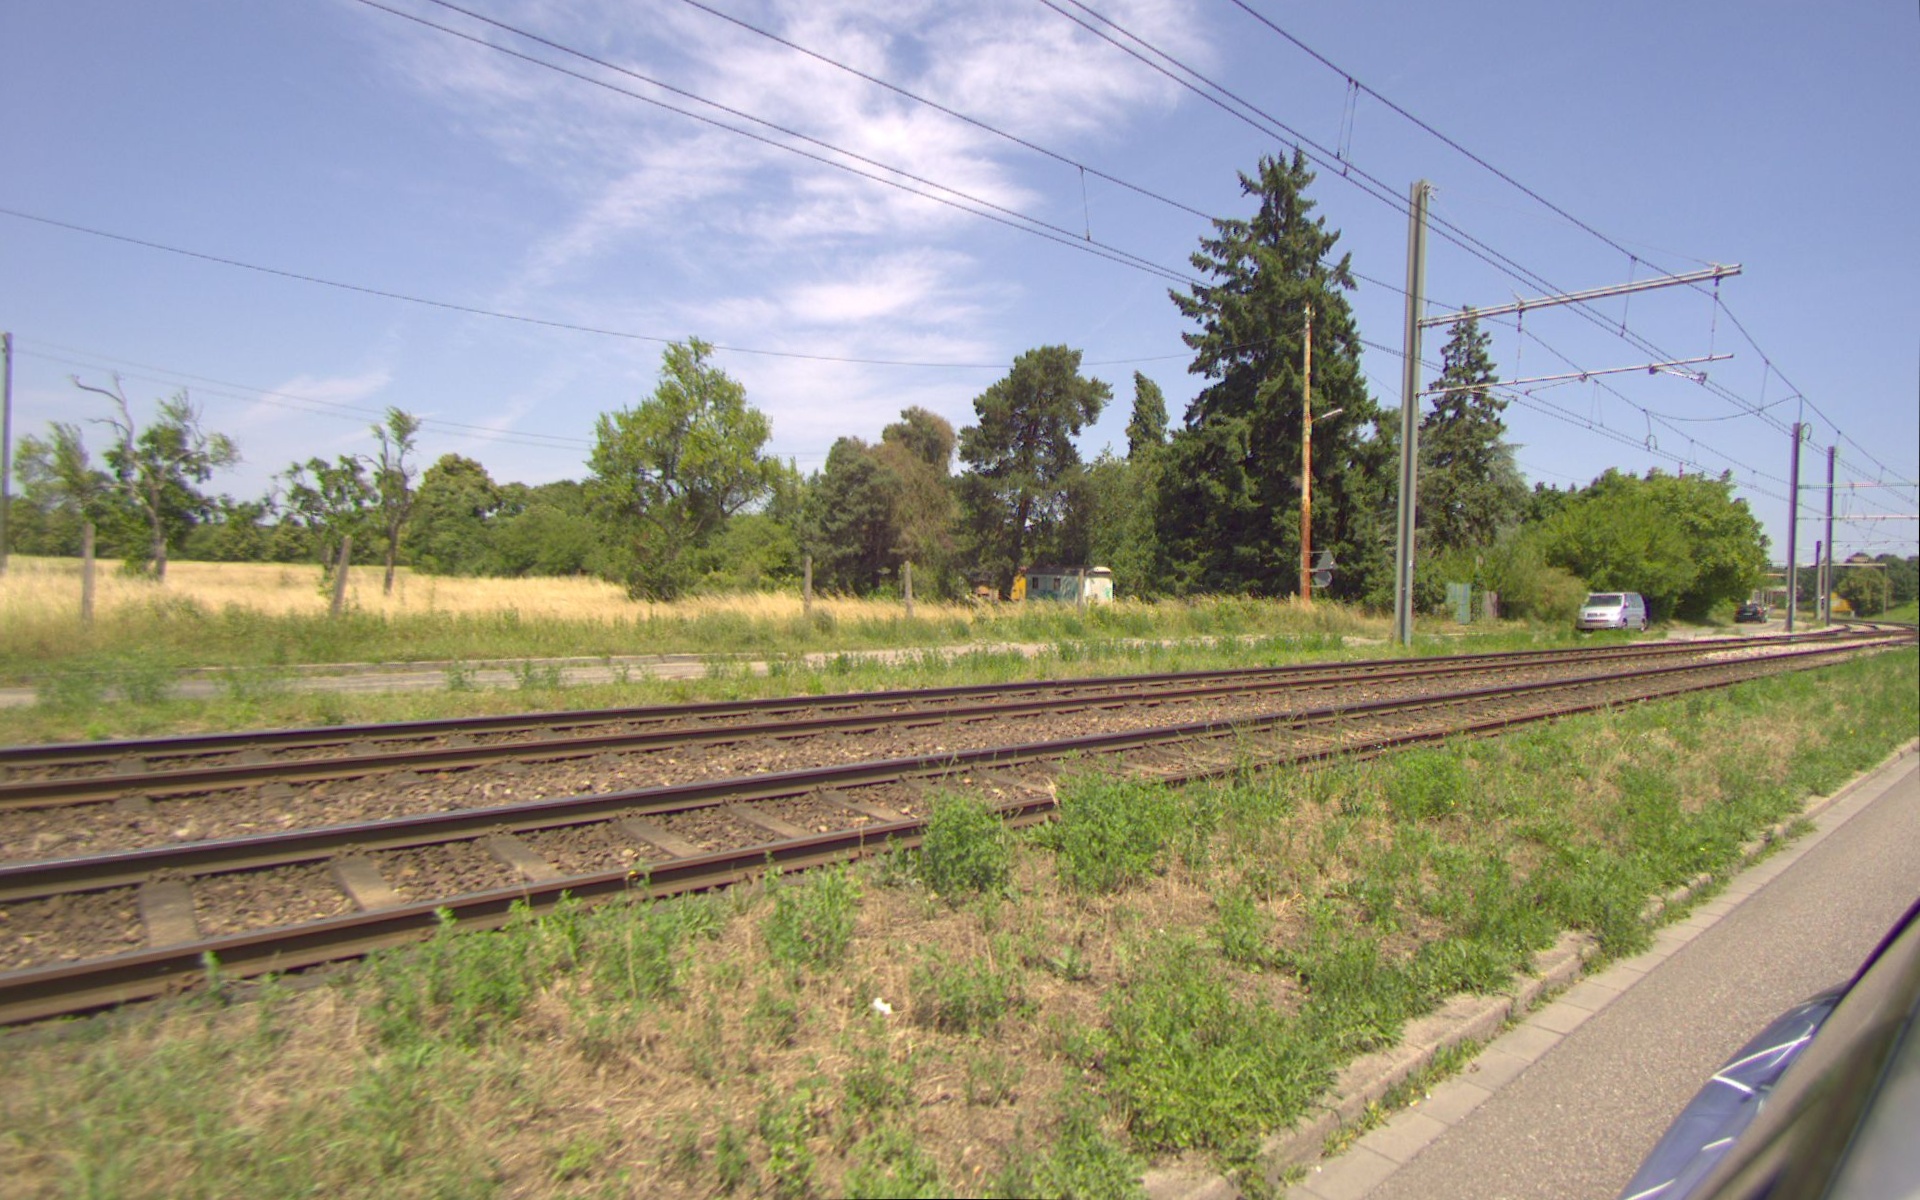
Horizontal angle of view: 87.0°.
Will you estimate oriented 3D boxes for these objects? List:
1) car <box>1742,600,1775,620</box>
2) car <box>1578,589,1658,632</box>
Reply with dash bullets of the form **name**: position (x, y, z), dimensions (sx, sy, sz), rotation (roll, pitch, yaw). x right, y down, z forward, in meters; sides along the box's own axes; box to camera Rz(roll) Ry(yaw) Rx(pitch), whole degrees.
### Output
- **car**: position (64.966, 0.798, 82.308), dimensions (1.796, 1.444, 4.669), rotation (2, 2, 42)
- **car**: position (31.284, 0.449, 48.065), dimensions (4.983, 1.905, 2.039), rotation (-1, 2, -43)
